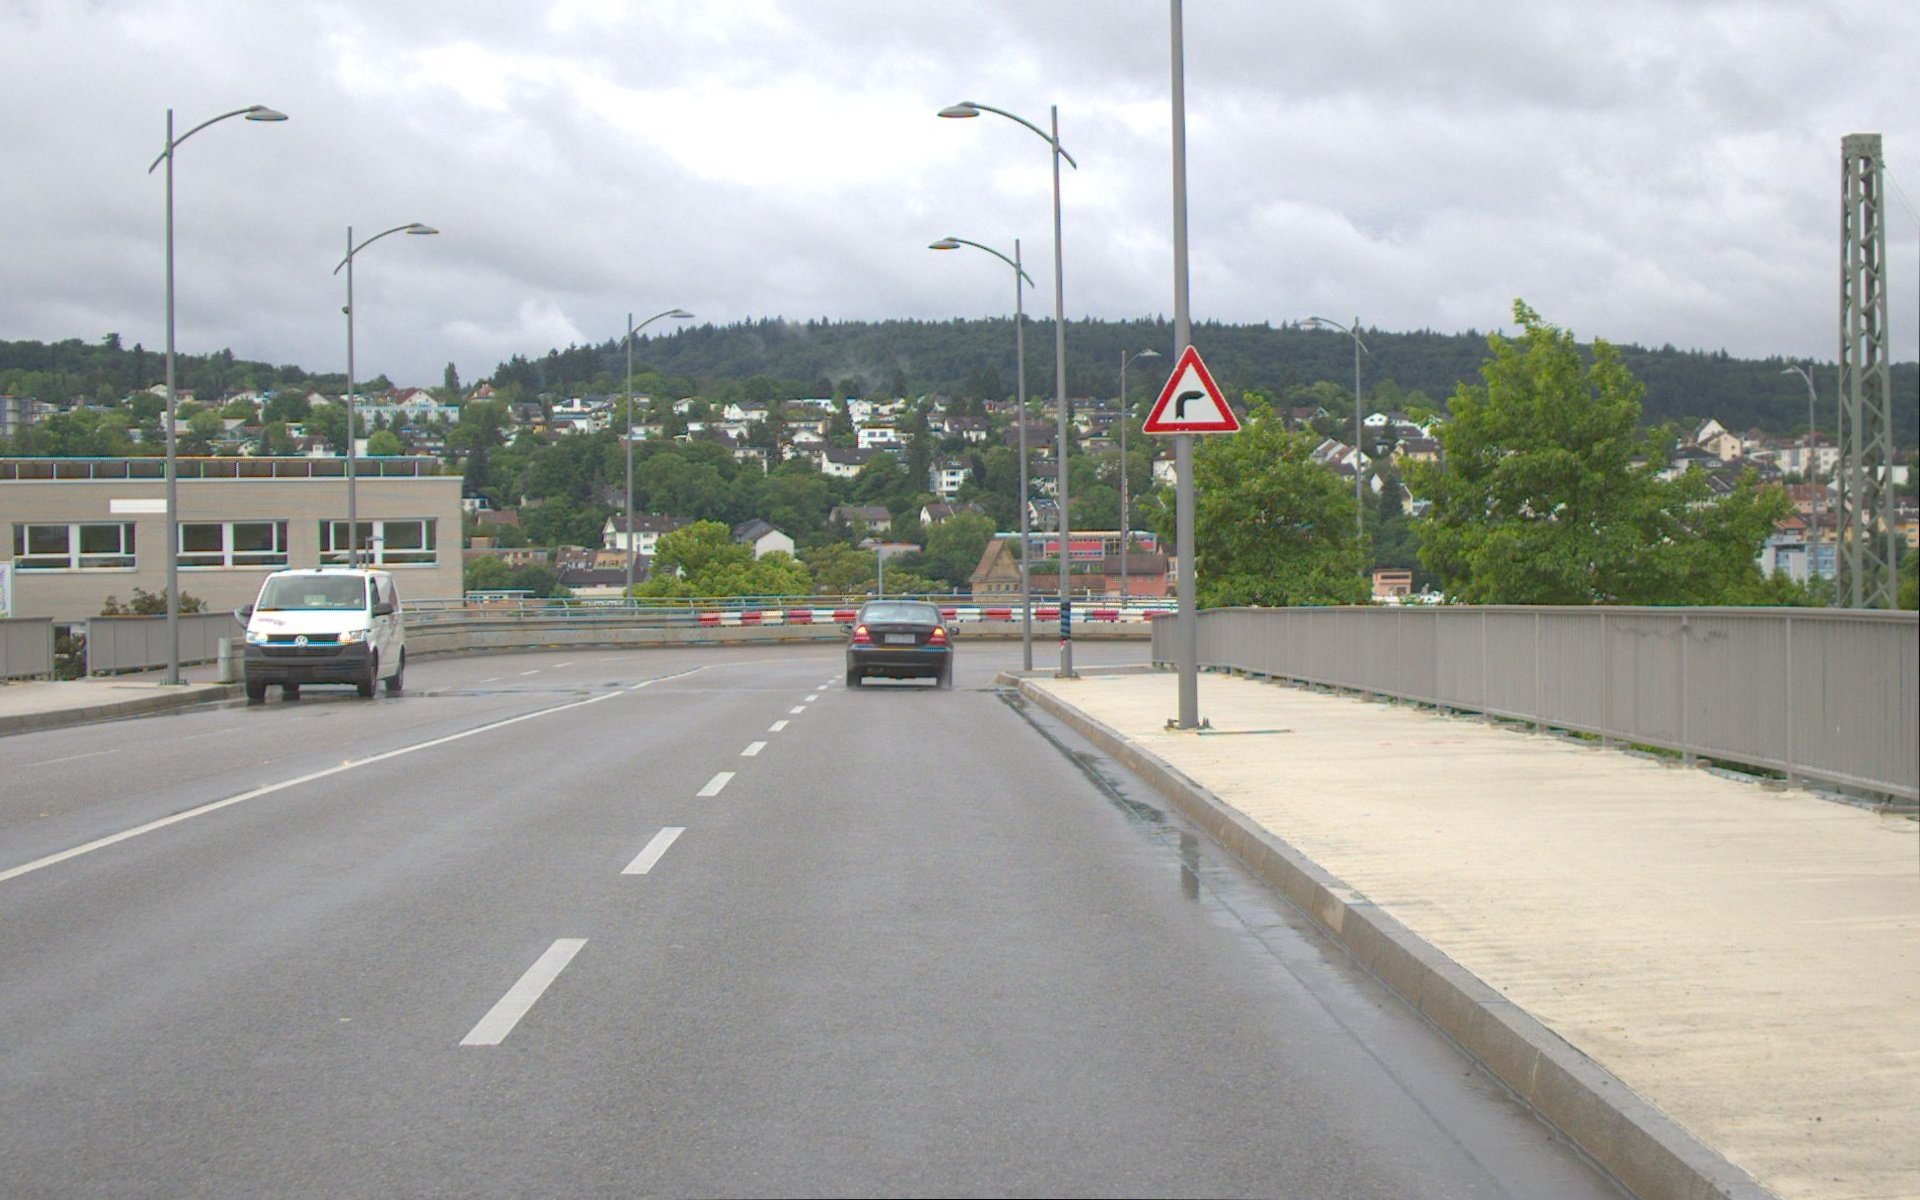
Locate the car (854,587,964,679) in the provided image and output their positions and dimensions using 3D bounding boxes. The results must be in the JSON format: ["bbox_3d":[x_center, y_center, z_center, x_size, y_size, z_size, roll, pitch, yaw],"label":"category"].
[{"bbox_3d":[-0.832,0.512,55.711,1.706,1.415,3.726,1,0,-1],"label":"car"}]

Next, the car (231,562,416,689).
[{"bbox_3d":[-9.614,0.375,52.282,1.886,1.816,4.958,1,0,0],"label":"car"}]
